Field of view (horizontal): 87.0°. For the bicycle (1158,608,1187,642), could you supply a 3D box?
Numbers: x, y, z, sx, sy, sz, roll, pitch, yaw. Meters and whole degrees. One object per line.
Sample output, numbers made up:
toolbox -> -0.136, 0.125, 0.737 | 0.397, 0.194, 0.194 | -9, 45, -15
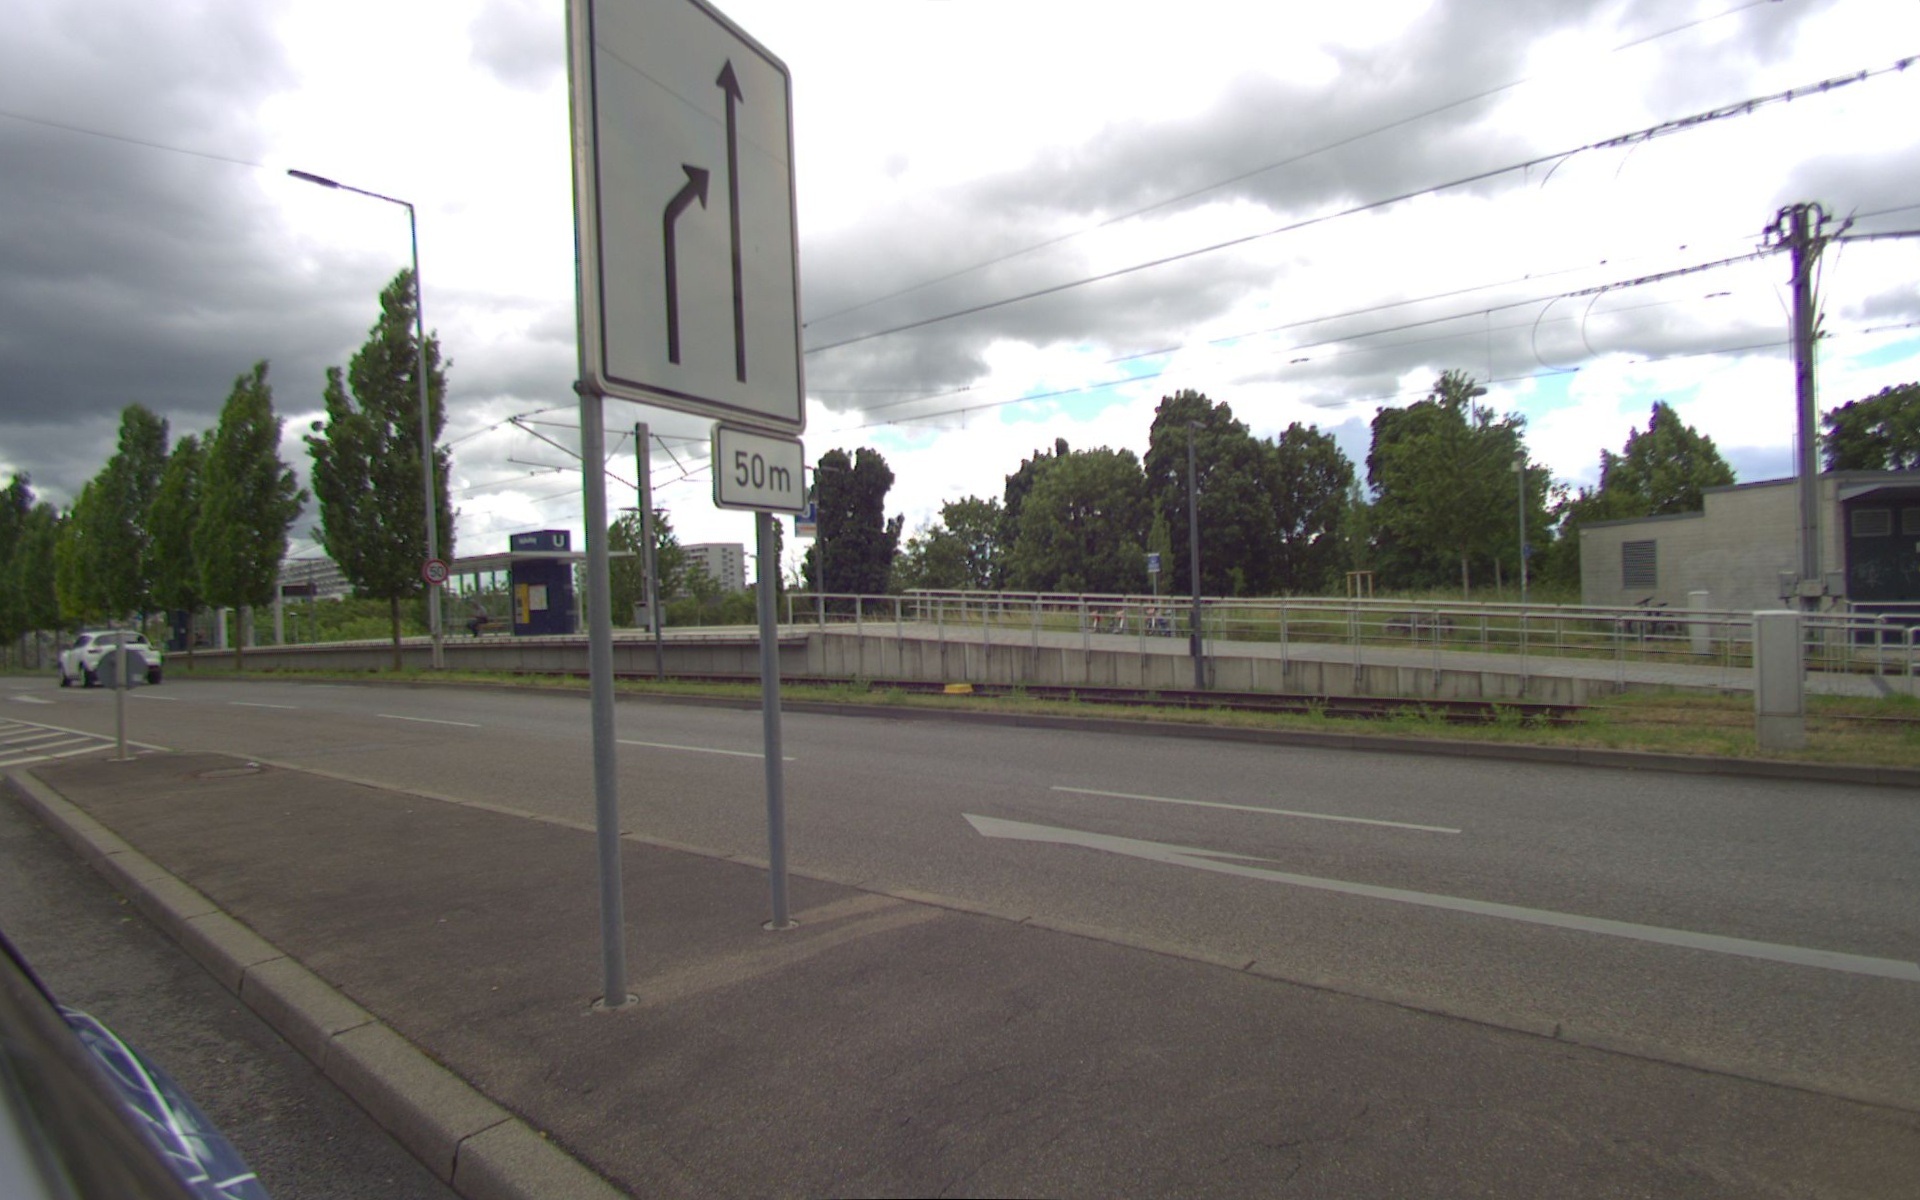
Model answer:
bicycle -> 7.041, 0.817, 33.463 | 0.490, 1.095, 1.466 | -2, -1, 30

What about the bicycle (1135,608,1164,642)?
bicycle -> 6.376, 0.834, 33.943 | 0.490, 1.095, 1.466 | -2, -1, 30

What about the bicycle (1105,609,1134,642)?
bicycle -> 5.435, 0.869, 34.454 | 0.490, 1.095, 1.466 | -2, -1, 30

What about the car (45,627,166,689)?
car -> -24.692, 1.652, 29.189 | 4.419, 1.641, 1.811 | -3, -2, 38

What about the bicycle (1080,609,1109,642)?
bicycle -> 4.678, 0.885, 35.156 | 0.490, 1.095, 1.466 | -2, -1, 30

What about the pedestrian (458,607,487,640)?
pedestrian -> -18.255, 0.881, 37.868 | 0.781, 1.211, 0.656 | -2, -1, 33

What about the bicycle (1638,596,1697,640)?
bicycle -> 18.190, 0.459, 26.054 | 0.486, 1.095, 1.480 | -1, -1, 3
